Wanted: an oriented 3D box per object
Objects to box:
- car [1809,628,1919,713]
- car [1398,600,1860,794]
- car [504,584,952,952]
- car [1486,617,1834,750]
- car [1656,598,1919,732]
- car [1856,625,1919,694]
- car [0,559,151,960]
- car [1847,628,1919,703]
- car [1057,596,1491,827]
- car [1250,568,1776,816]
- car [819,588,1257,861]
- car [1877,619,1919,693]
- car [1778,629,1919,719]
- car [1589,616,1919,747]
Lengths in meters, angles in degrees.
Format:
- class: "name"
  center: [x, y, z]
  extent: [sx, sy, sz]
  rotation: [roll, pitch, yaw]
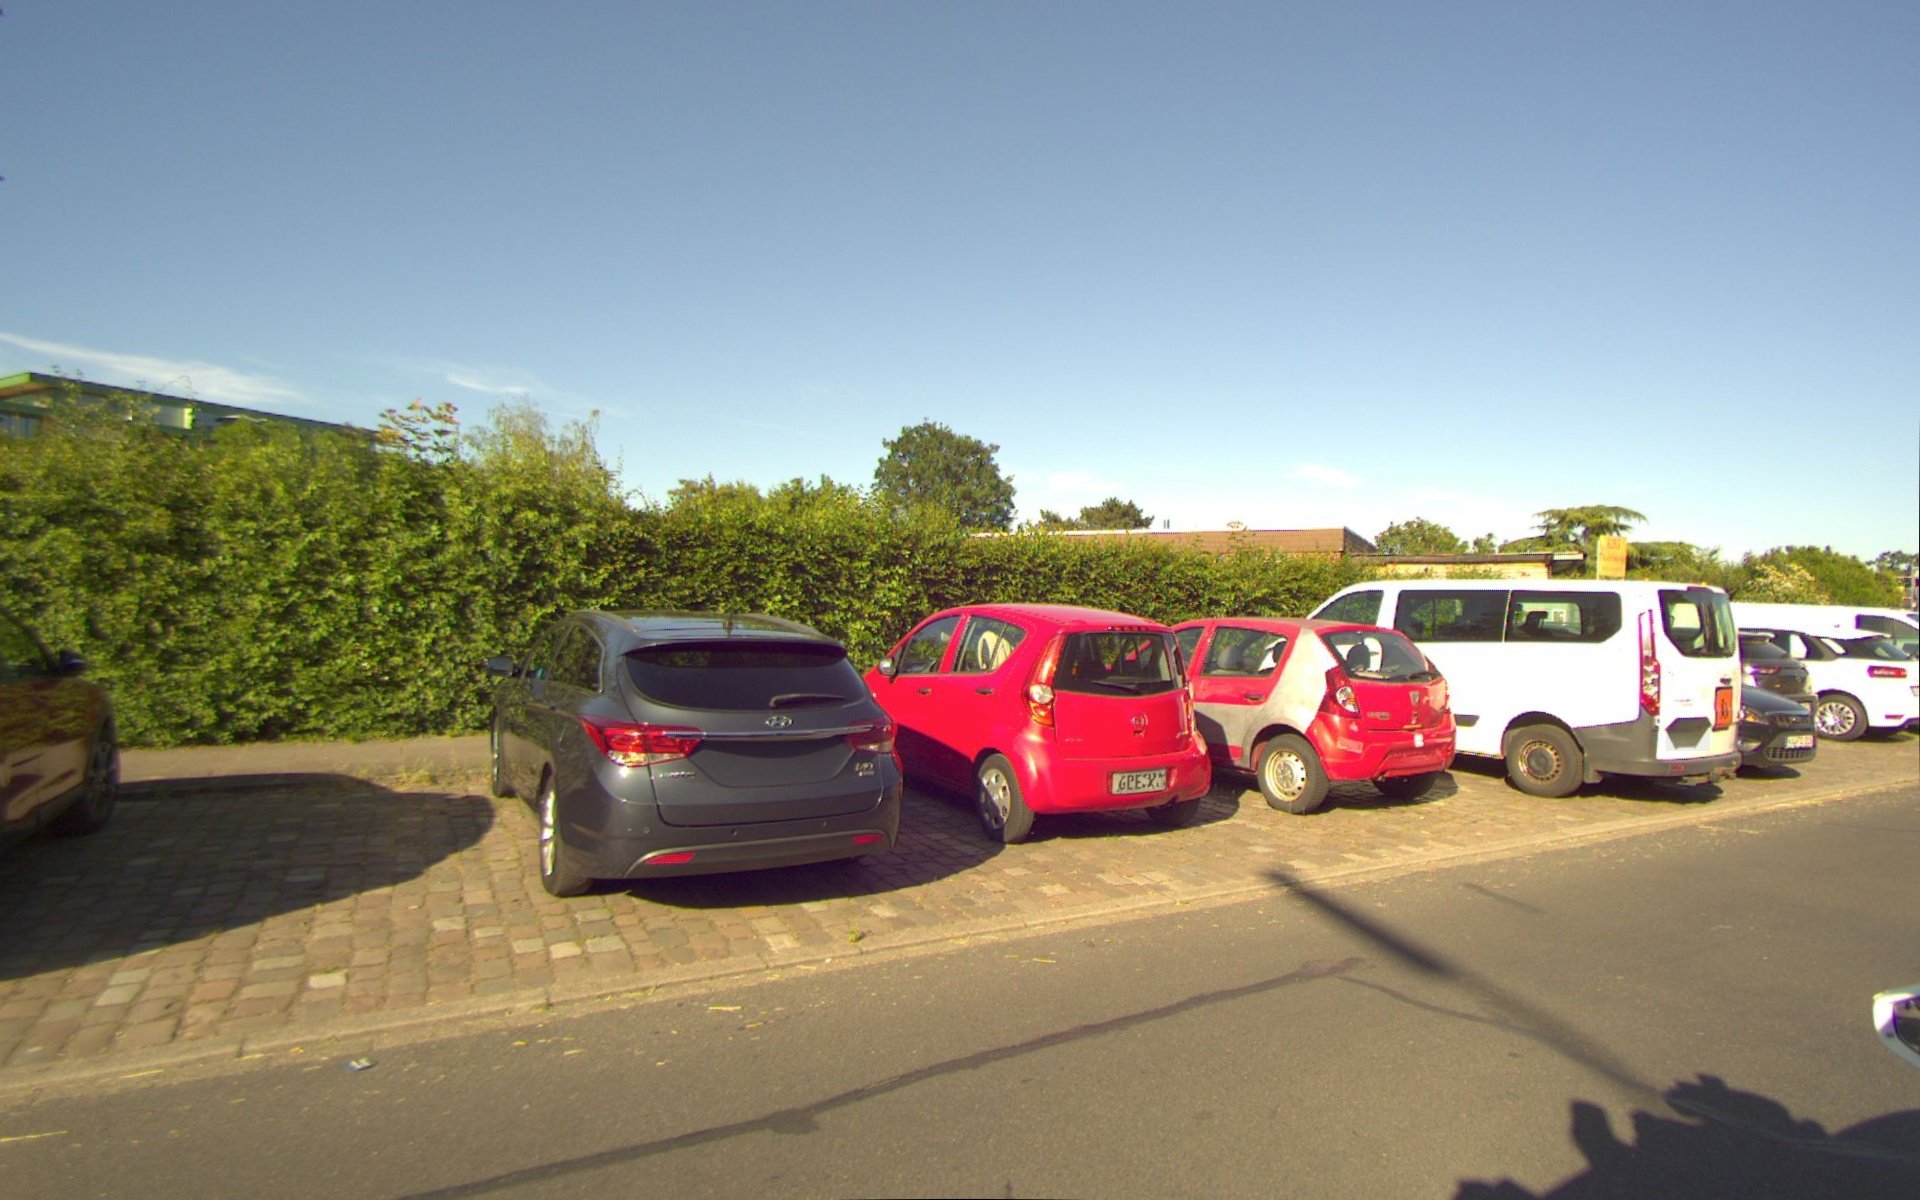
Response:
- class: "car"
  center: [19.047, 1.409, 19.600]
  extent: [1.621, 1.509, 3.489]
  rotation: [0, 2, -35]
- class: "car"
  center: [7.631, 0.970, 11.922]
  extent: [1.862, 1.728, 4.131]
  rotation: [2, 1, -30]
- class: "car"
  center: [-1.904, 0.710, 6.734]
  extent: [1.726, 1.499, 4.523]
  rotation: [1, 1, -29]
- class: "car"
  center: [10.129, 1.122, 14.826]
  extent: [1.862, 1.506, 3.750]
  rotation: [2, 1, -30]
- class: "car"
  center: [15.019, 1.053, 17.078]
  extent: [2.060, 1.946, 4.760]
  rotation: [2, 1, -33]
- class: "car"
  center: [22.880, 1.427, 22.735]
  extent: [1.708, 1.509, 3.495]
  rotation: [2, 1, -31]
- class: "car"
  center: [-5.239, 0.553, 4.708]
  extent: [1.771, 1.499, 3.964]
  rotation: [1, 2, -32]
- class: "car"
  center: [21.170, 1.458, 21.066]
  extent: [1.618, 1.509, 3.495]
  rotation: [2, 1, -31]
- class: "car"
  center: [2.693, 0.833, 9.399]
  extent: [1.830, 1.588, 3.585]
  rotation: [1, 2, -29]
- class: "car"
  center: [5.496, 0.733, 10.660]
  extent: [1.977, 2.003, 4.456]
  rotation: [2, 1, -30]
- class: "car"
  center: [0.386, 0.755, 8.144]
  extent: [1.858, 1.588, 3.585]
  rotation: [1, 2, -29]
- class: "car"
  center: [25.144, 1.436, 24.390]
  extent: [1.907, 1.804, 3.948]
  rotation: [1, 1, -37]
- class: "car"
  center: [17.374, 1.374, 18.277]
  extent: [1.618, 1.465, 3.495]
  rotation: [2, 1, -31]
- class: "car"
  center: [12.535, 1.168, 15.853]
  extent: [1.862, 1.604, 3.968]
  rotation: [2, 1, -30]
